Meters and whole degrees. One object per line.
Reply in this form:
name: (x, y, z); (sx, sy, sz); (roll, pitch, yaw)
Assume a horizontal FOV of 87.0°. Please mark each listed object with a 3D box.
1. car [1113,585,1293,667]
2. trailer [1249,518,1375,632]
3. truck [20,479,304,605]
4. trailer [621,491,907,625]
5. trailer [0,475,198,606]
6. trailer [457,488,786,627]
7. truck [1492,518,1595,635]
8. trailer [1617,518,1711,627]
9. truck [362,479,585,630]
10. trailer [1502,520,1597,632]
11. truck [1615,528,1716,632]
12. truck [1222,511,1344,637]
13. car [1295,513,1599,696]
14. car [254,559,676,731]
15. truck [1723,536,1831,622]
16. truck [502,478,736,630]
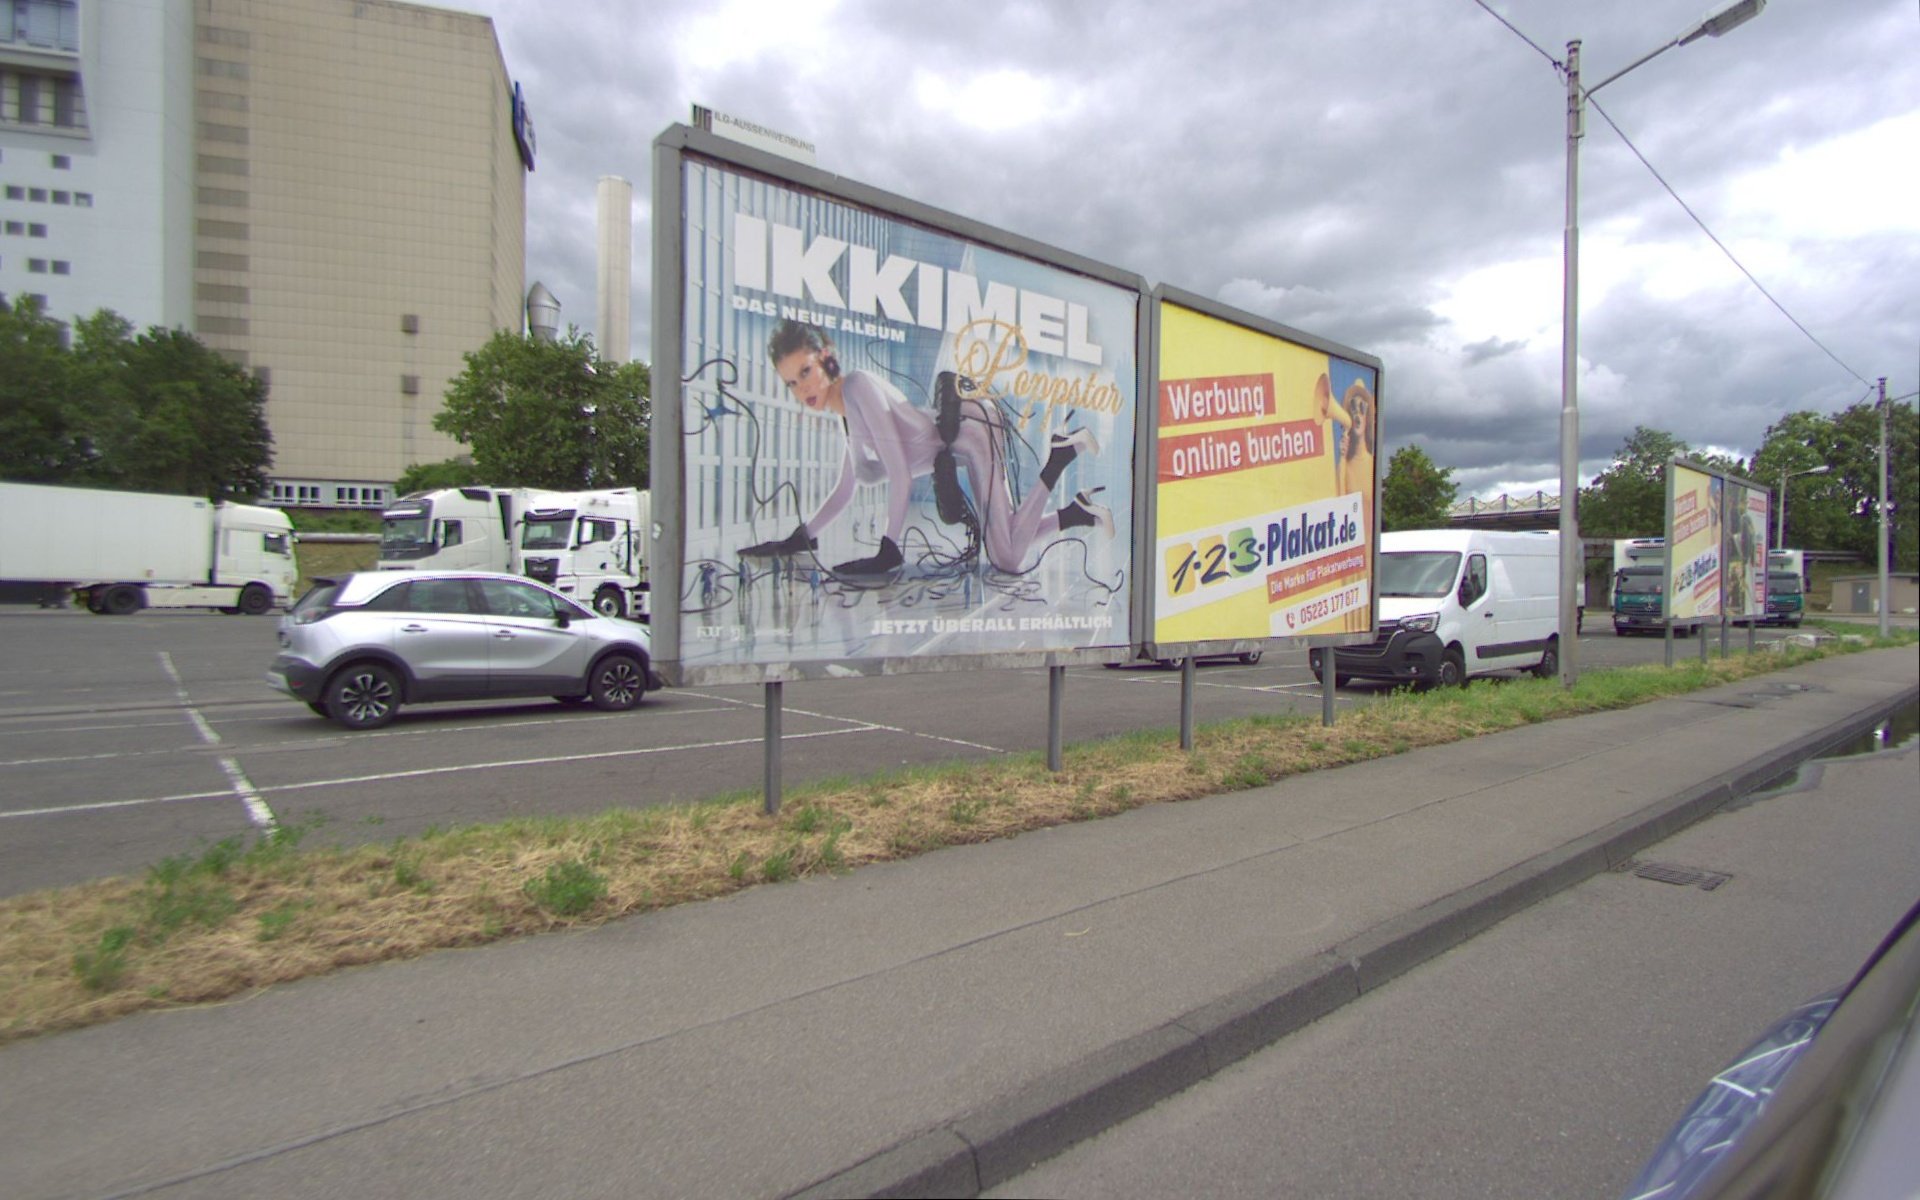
car: (5.023, 0.470, 20.660); (3.980, 1.513, 1.496); (0, 1, -39)
trailer: (15.387, -1.055, 43.275); (2.815, 4.145, 13.261); (2, 2, 29)
truck: (-27.783, -1.866, 35.537); (3.610, 3.927, 7.161); (1, 1, 36)
trailer: (-6.553, -1.411, 37.117); (2.596, 4.145, 12.303); (2, 2, 32)
trailer: (-31.512, -1.823, 30.236); (3.620, 3.959, 13.564); (1, 1, 35)
trailer: (-11.334, -1.374, 36.103); (2.596, 4.145, 12.303); (2, 2, 32)
truck: (22.387, -0.892, 38.659); (2.855, 4.063, 6.674); (2, 2, 34)
trailer: (30.657, -1.157, 44.525); (2.820, 4.145, 13.238); (2, 2, 33)
truck: (-14.606, -1.325, 30.753); (2.596, 4.146, 5.591); (2, 2, 32)
trailer: (25.694, -1.003, 43.728); (2.820, 4.145, 13.238); (2, 2, 33)
truck: (27.228, -0.787, 39.225); (2.855, 3.675, 6.674); (2, 2, 34)
truck: (11.933, -0.958, 36.984); (2.850, 4.145, 6.687); (2, 2, 29)
car: (7.990, 0.027, 16.275); (5.974, 2.446, 2.091); (0, 1, -39)
car: (-5.406, 0.422, 11.318); (3.931, 1.591, 1.767); (0, -1, -41)
truck: (39.295, -0.997, 48.983); (2.808, 3.758, 9.004); (1, 1, 31)
truck: (-10.249, -1.334, 31.124); (2.596, 4.145, 6.680); (2, 2, 32)
